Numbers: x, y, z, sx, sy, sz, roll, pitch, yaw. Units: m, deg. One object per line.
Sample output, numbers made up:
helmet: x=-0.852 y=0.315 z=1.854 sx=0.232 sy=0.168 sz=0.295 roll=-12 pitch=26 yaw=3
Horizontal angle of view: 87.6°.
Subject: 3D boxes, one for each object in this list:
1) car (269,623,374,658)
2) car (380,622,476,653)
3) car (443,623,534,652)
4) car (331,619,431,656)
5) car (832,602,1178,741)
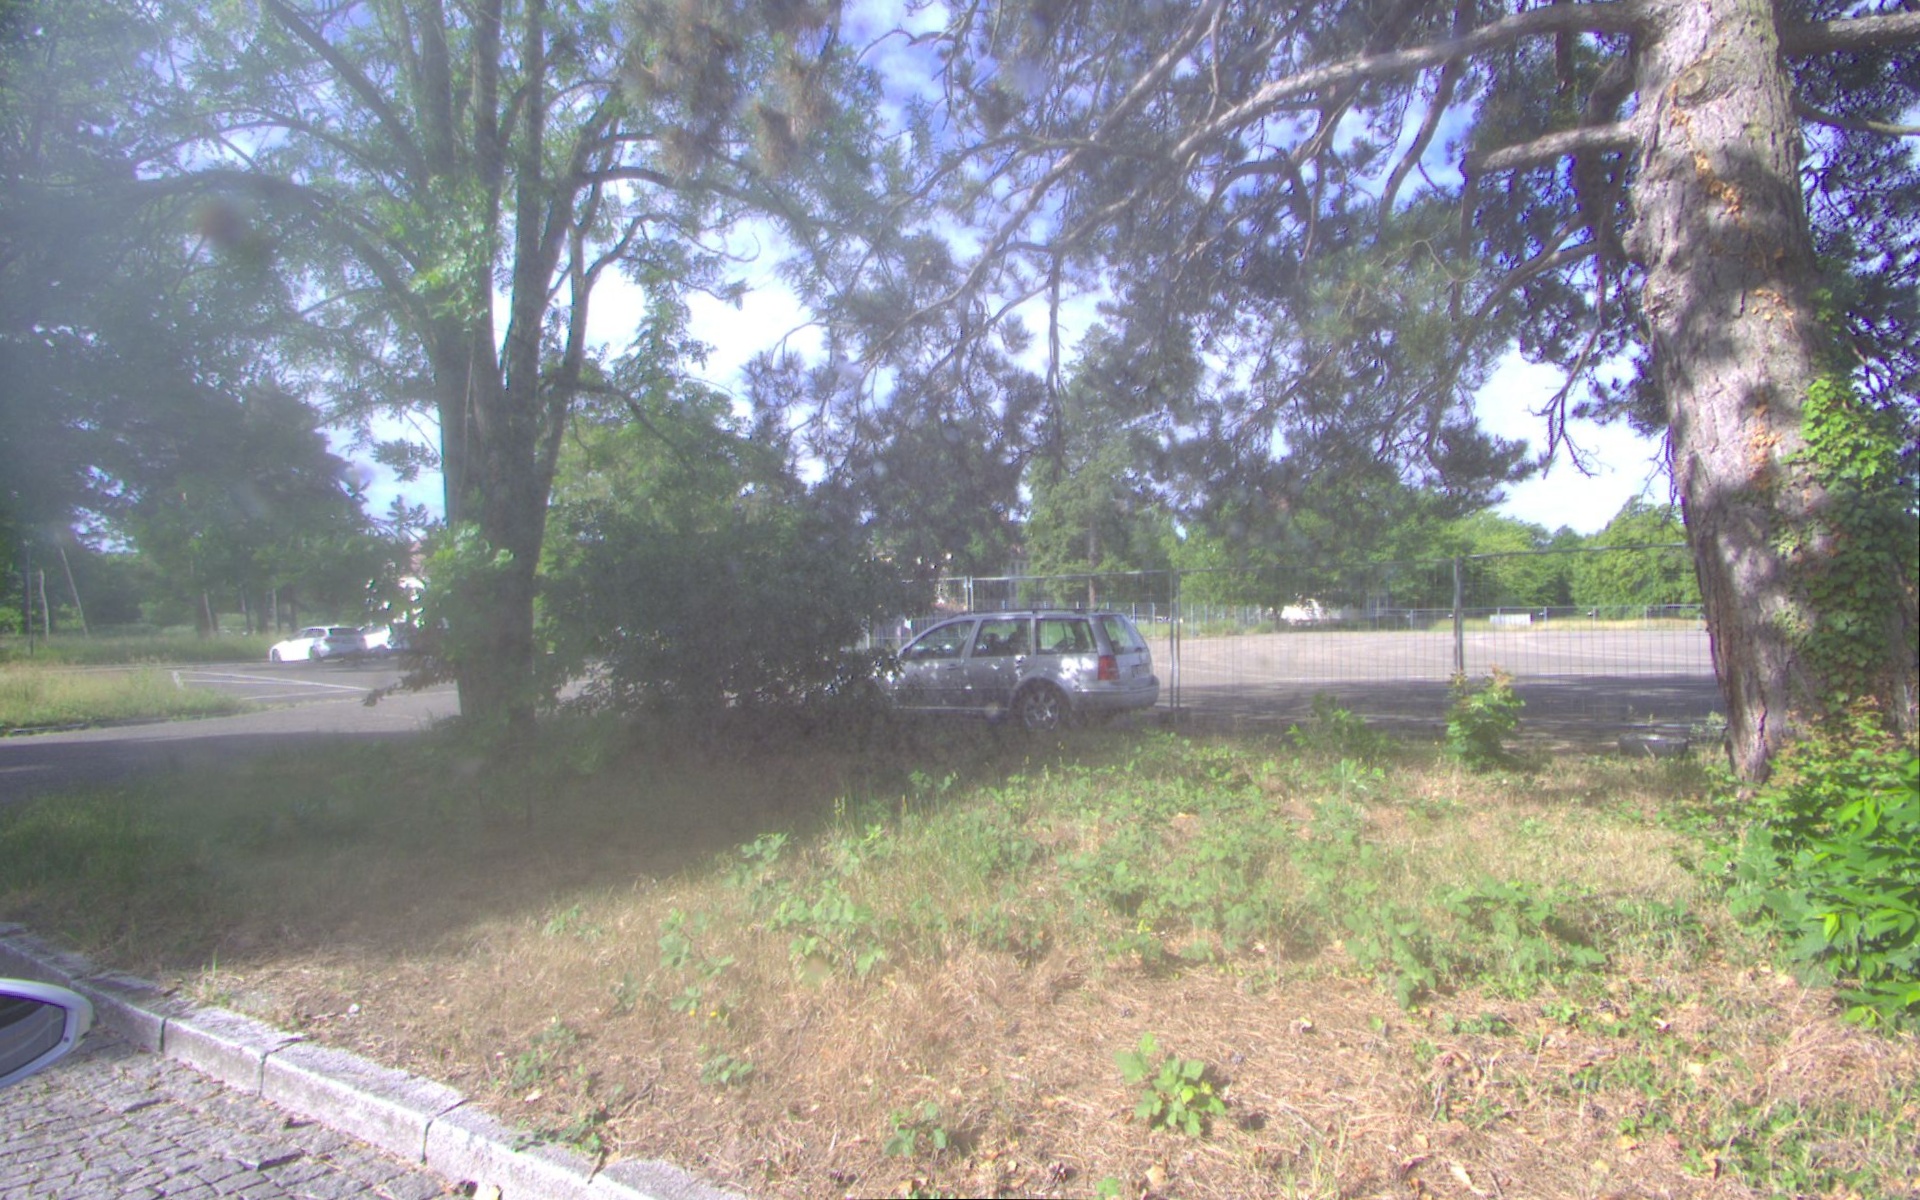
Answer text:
car: x=-25.807 y=1.605 z=40.477 sx=4.265 sy=1.329 sz=1.729 roll=-1 pitch=-1 yaw=28
car: x=-23.901 y=1.682 z=44.961 sx=4.265 sy=1.329 sz=1.729 roll=-1 pitch=0 yaw=28
car: x=-22.483 y=1.767 z=47.676 sx=4.265 sy=1.329 sz=1.729 roll=-1 pitch=0 yaw=28
car: x=-24.762 y=1.606 z=42.792 sx=4.265 sy=1.496 sz=1.729 roll=-1 pitch=-1 yaw=28
car: x=0.525 y=0.807 z=12.365 sx=3.938 sy=1.487 sz=1.666 roll=-1 pitch=-1 yaw=28
